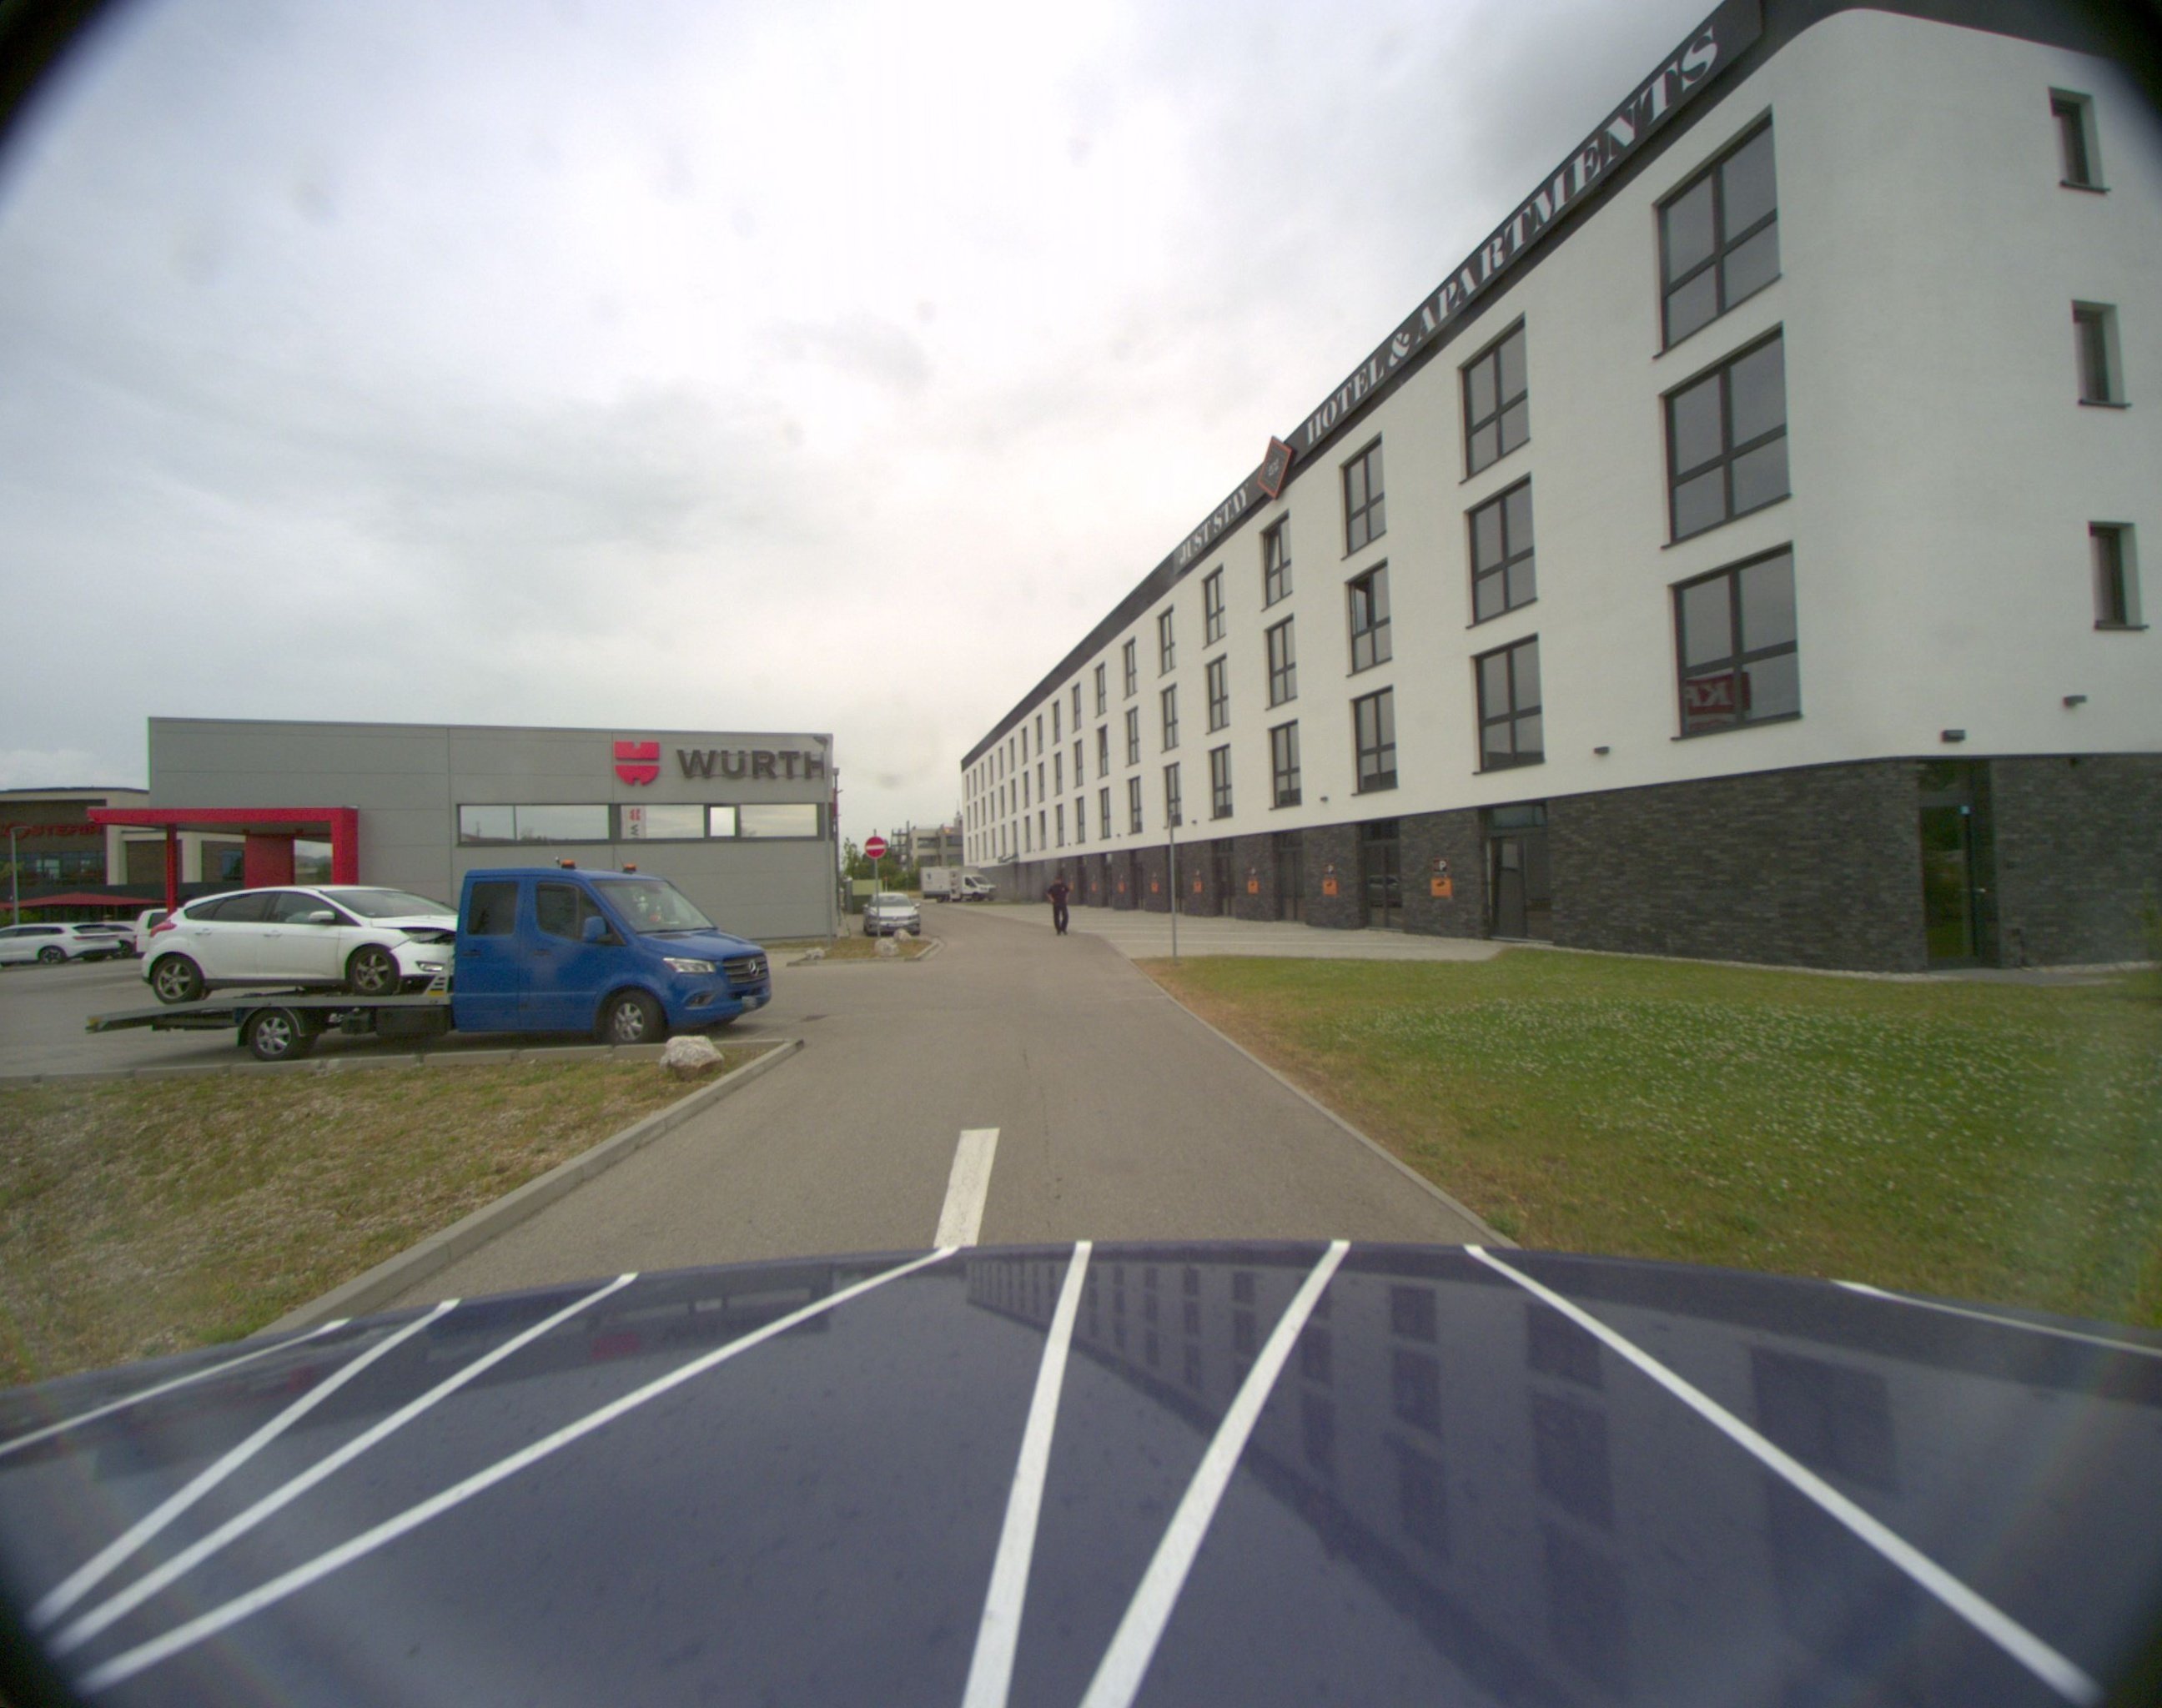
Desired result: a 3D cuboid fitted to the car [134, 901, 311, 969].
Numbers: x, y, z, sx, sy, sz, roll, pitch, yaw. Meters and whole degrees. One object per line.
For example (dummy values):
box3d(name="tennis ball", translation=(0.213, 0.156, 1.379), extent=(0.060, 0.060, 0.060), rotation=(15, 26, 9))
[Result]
box3d(name="car", translation=(-29.521, 2.747, 26.266), extent=(3.678, 1.967, 1.674), rotation=(-2, 0, -16))

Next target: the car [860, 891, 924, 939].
box3d(name="car", translation=(-6.788, 2.138, 27.728), extent=(1.981, 1.482, 4.767), rotation=(0, -2, -11))

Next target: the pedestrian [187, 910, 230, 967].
box3d(name="pedestrian", translation=(-28.827, 2.768, 25.106), extent=(0.659, 1.796, 0.649), rotation=(-1, -1, -15))

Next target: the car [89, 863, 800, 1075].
box3d(name="car", translation=(-8.031, 1.417, 10.020), extent=(7.848, 2.308, 2.202), rotation=(-2, -1, 4))

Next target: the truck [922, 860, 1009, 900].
box3d(name="truck", translation=(-9.463, 2.149, 61.880), extent=(7.051, 2.998, 2.441), rotation=(-3, 0, 33))

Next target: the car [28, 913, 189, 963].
box3d(name="car", translation=(-43.213, 3.687, 33.894), extent=(4.002, 1.848, 1.998), rotation=(-2, -1, -15))

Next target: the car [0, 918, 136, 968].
box3d(name="car", translation=(-42.454, 3.654, 30.997), extent=(4.744, 1.738, 1.756), rotation=(-2, -1, -15))

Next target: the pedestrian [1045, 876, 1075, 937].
box3d(name="pedestrian", translation=(-0.650, 1.587, 23.283), extent=(0.710, 1.811, 0.812), rotation=(-2, -1, -12))

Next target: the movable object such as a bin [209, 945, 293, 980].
box3d(name="movable object such as a bin", translation=(-22.171, 2.896, 20.344), extent=(0.804, 0.711, 1.583), rotation=(-2, -1, -16))
